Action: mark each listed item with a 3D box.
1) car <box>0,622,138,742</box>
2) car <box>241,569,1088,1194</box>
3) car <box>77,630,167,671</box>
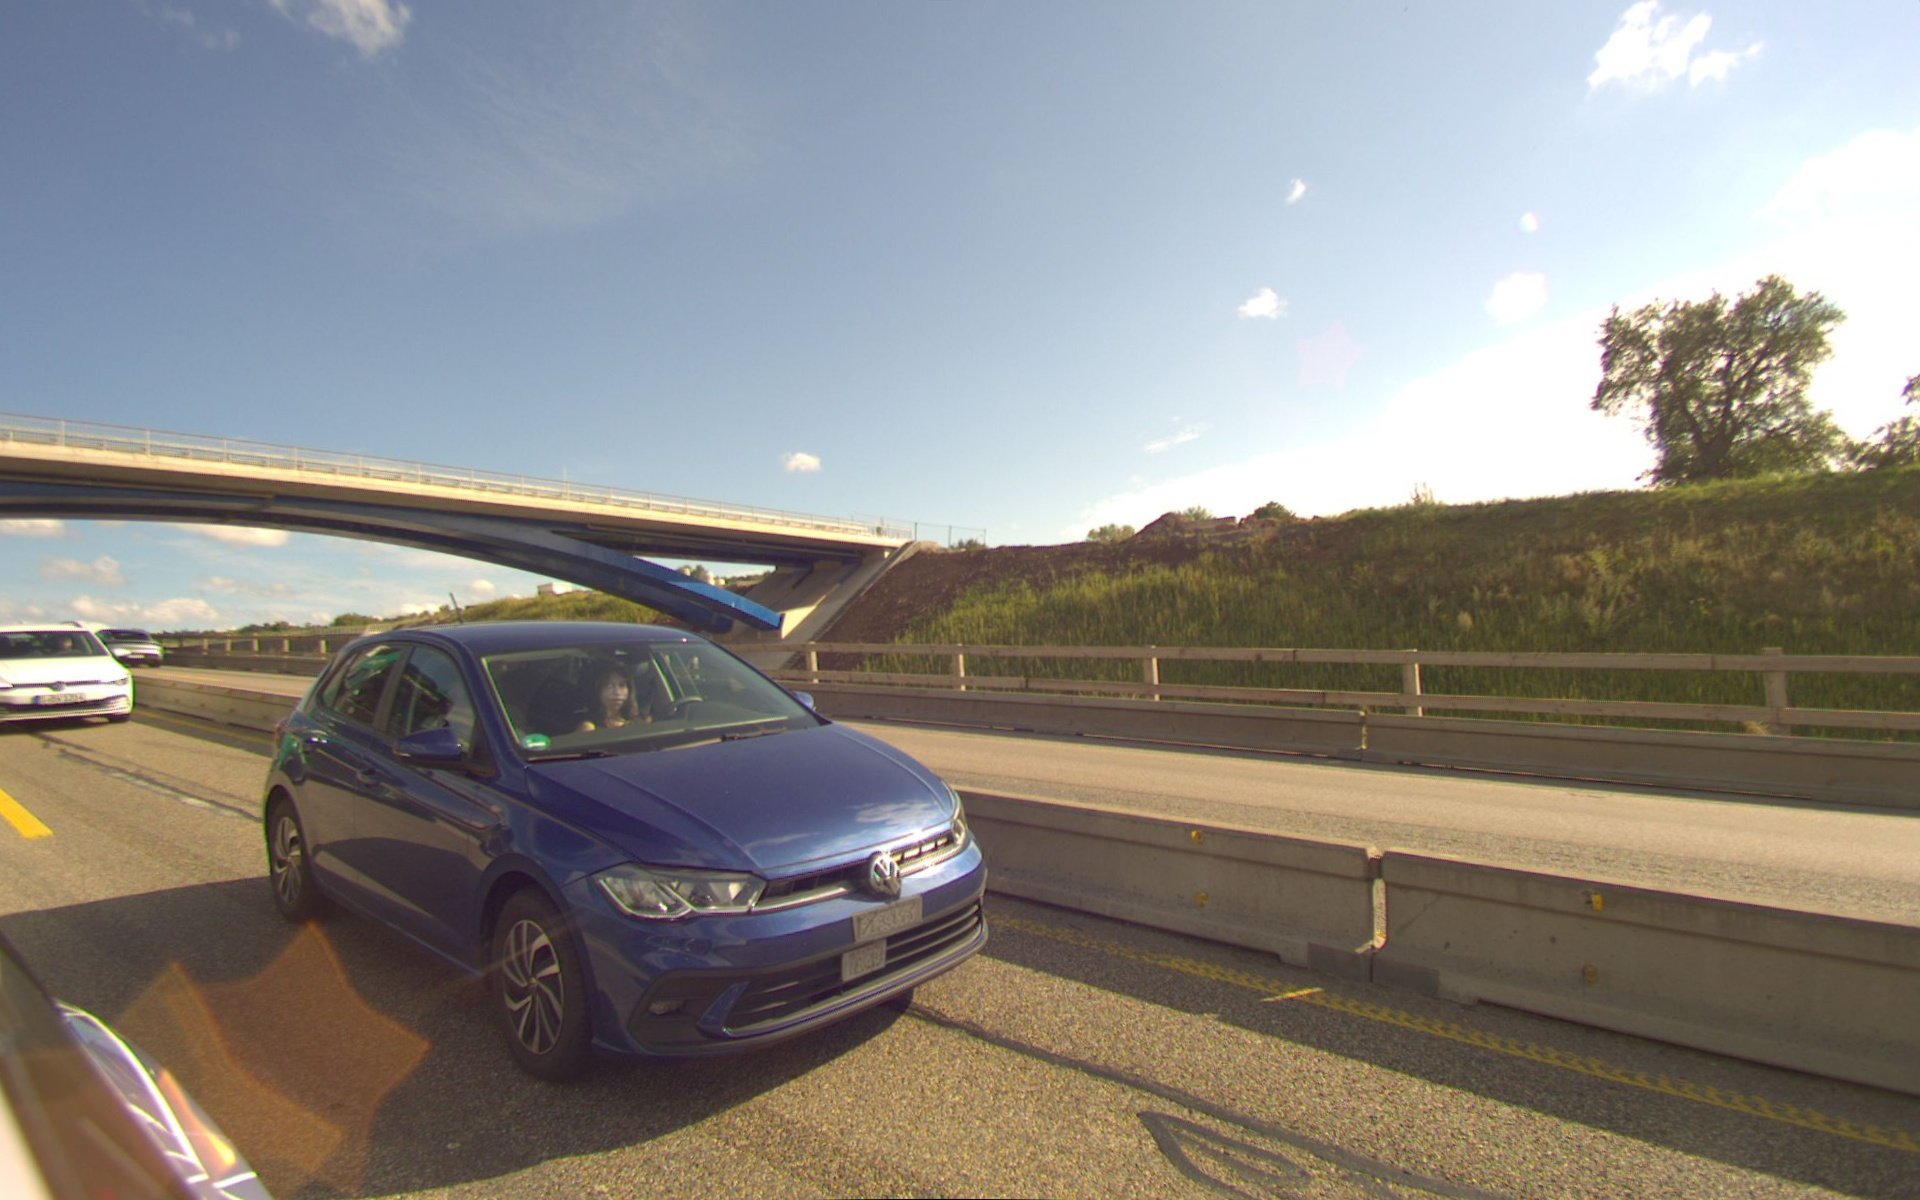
[{"bbox_3d":[-13.656,1.107,14.837,4.372,1.507,1.802,-1,-1,41],"label":"car"},{"bbox_3d":[-1.586,0.718,4.437,3.998,1.519,1.697,-1,-1,41],"label":"car"},{"bbox_3d":[-31.430,1.875,37.896,4.623,1.436,1.716,-1,-4,40],"label":"car"}]
